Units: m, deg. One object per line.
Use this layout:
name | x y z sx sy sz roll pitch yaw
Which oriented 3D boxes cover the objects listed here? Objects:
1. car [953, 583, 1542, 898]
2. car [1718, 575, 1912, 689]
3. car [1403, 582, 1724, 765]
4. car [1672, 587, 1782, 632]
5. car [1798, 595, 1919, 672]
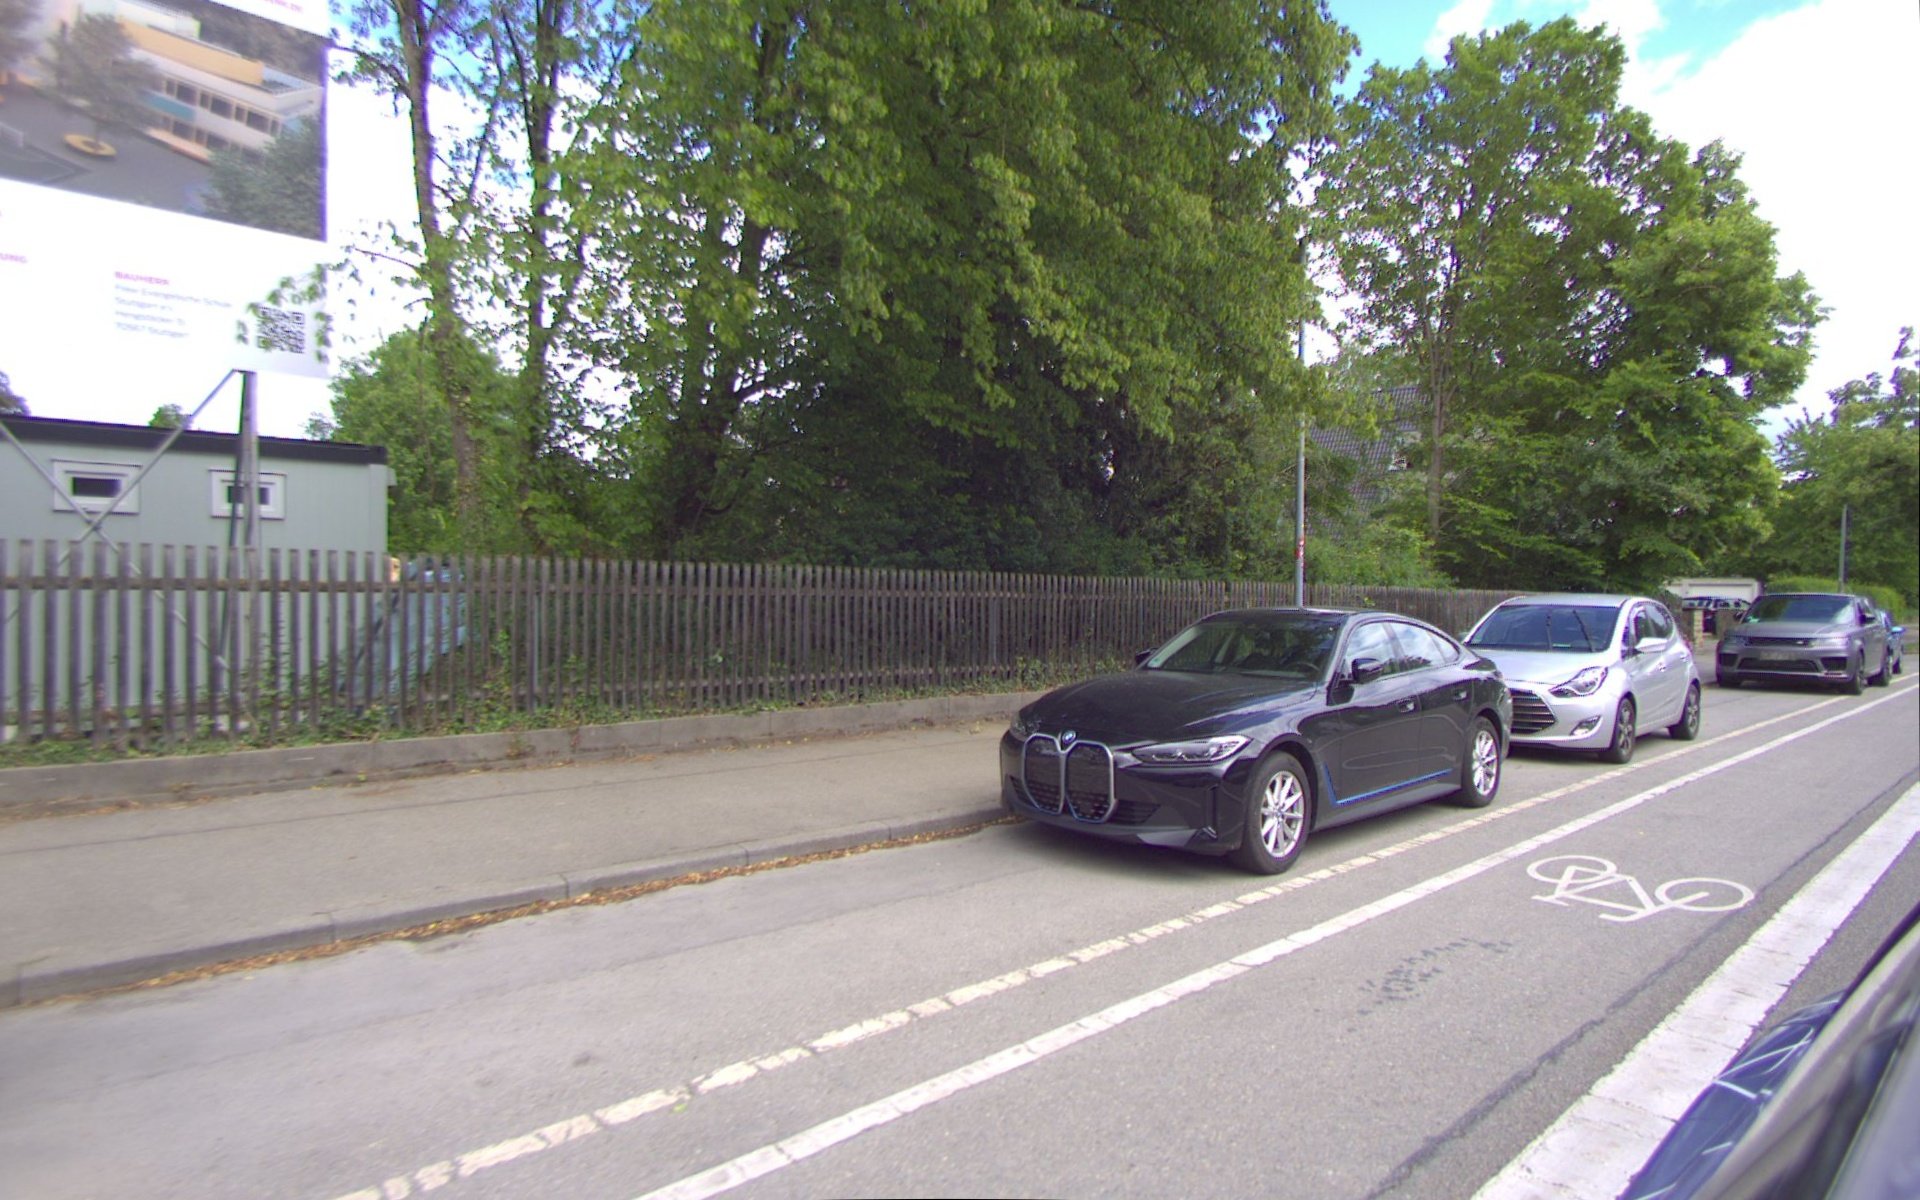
car | 2.274 0.664 7.153 4.599 1.534 1.819 -1 0 -41
car | 15.793 0.490 18.610 4.742 1.838 1.997 -1 1 -40
car | 6.714 0.630 11.050 4.346 1.609 1.865 0 1 -43
car | 28.369 0.336 37.462 3.152 1.587 1.655 1 1 -16
car | 20.052 0.670 22.508 3.855 1.520 1.687 -1 1 -43
